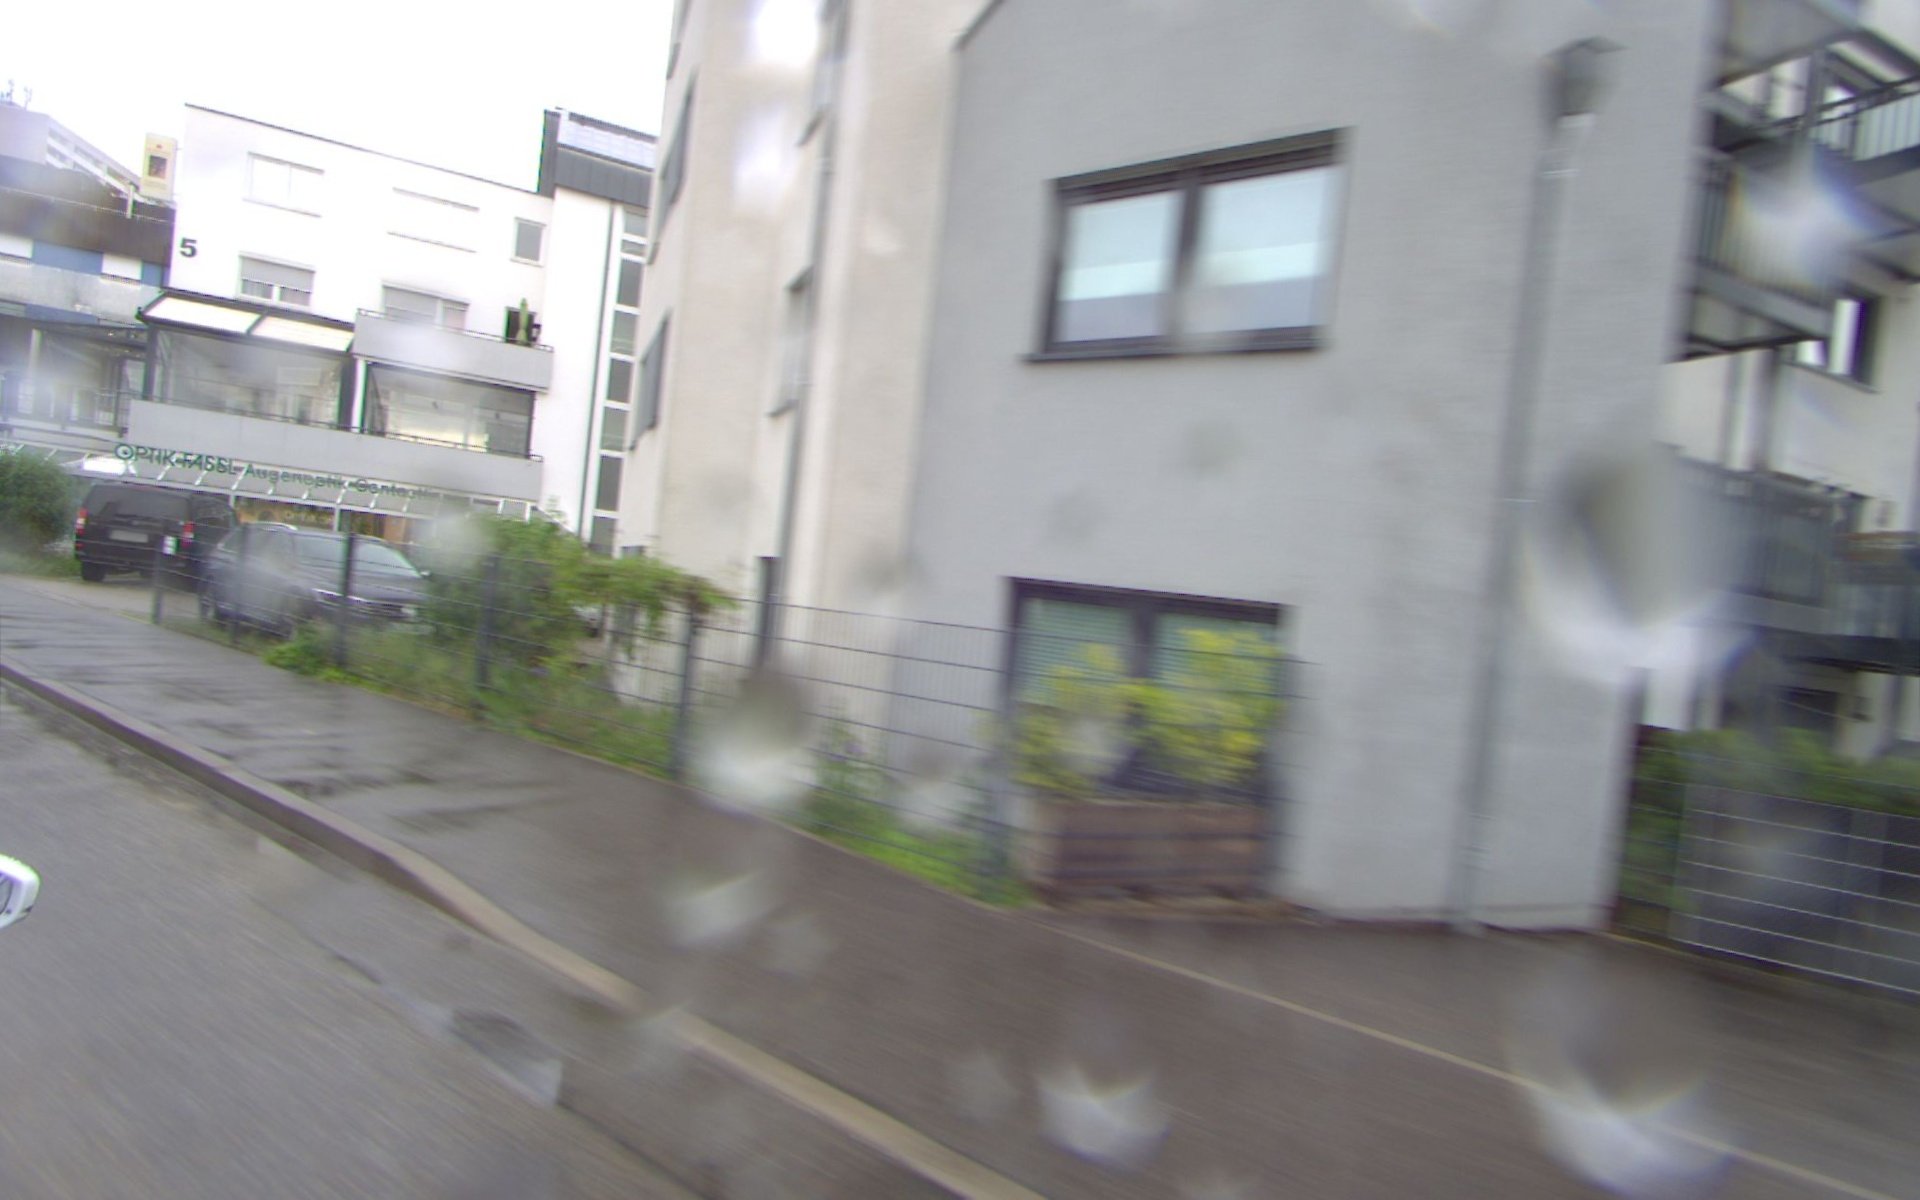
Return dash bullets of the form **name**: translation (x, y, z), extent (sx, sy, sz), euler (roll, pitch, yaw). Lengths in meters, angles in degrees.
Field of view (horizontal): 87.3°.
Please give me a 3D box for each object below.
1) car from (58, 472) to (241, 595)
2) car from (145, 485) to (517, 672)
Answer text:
- **car**: translation (-16.591, -1.338, 20.882), extent (1.977, 2.039, 4.744), euler (6, 0, -28)
- **car**: translation (-8.019, -0.298, 12.728), extent (4.612, 1.808, 1.996), euler (7, 1, 30)
